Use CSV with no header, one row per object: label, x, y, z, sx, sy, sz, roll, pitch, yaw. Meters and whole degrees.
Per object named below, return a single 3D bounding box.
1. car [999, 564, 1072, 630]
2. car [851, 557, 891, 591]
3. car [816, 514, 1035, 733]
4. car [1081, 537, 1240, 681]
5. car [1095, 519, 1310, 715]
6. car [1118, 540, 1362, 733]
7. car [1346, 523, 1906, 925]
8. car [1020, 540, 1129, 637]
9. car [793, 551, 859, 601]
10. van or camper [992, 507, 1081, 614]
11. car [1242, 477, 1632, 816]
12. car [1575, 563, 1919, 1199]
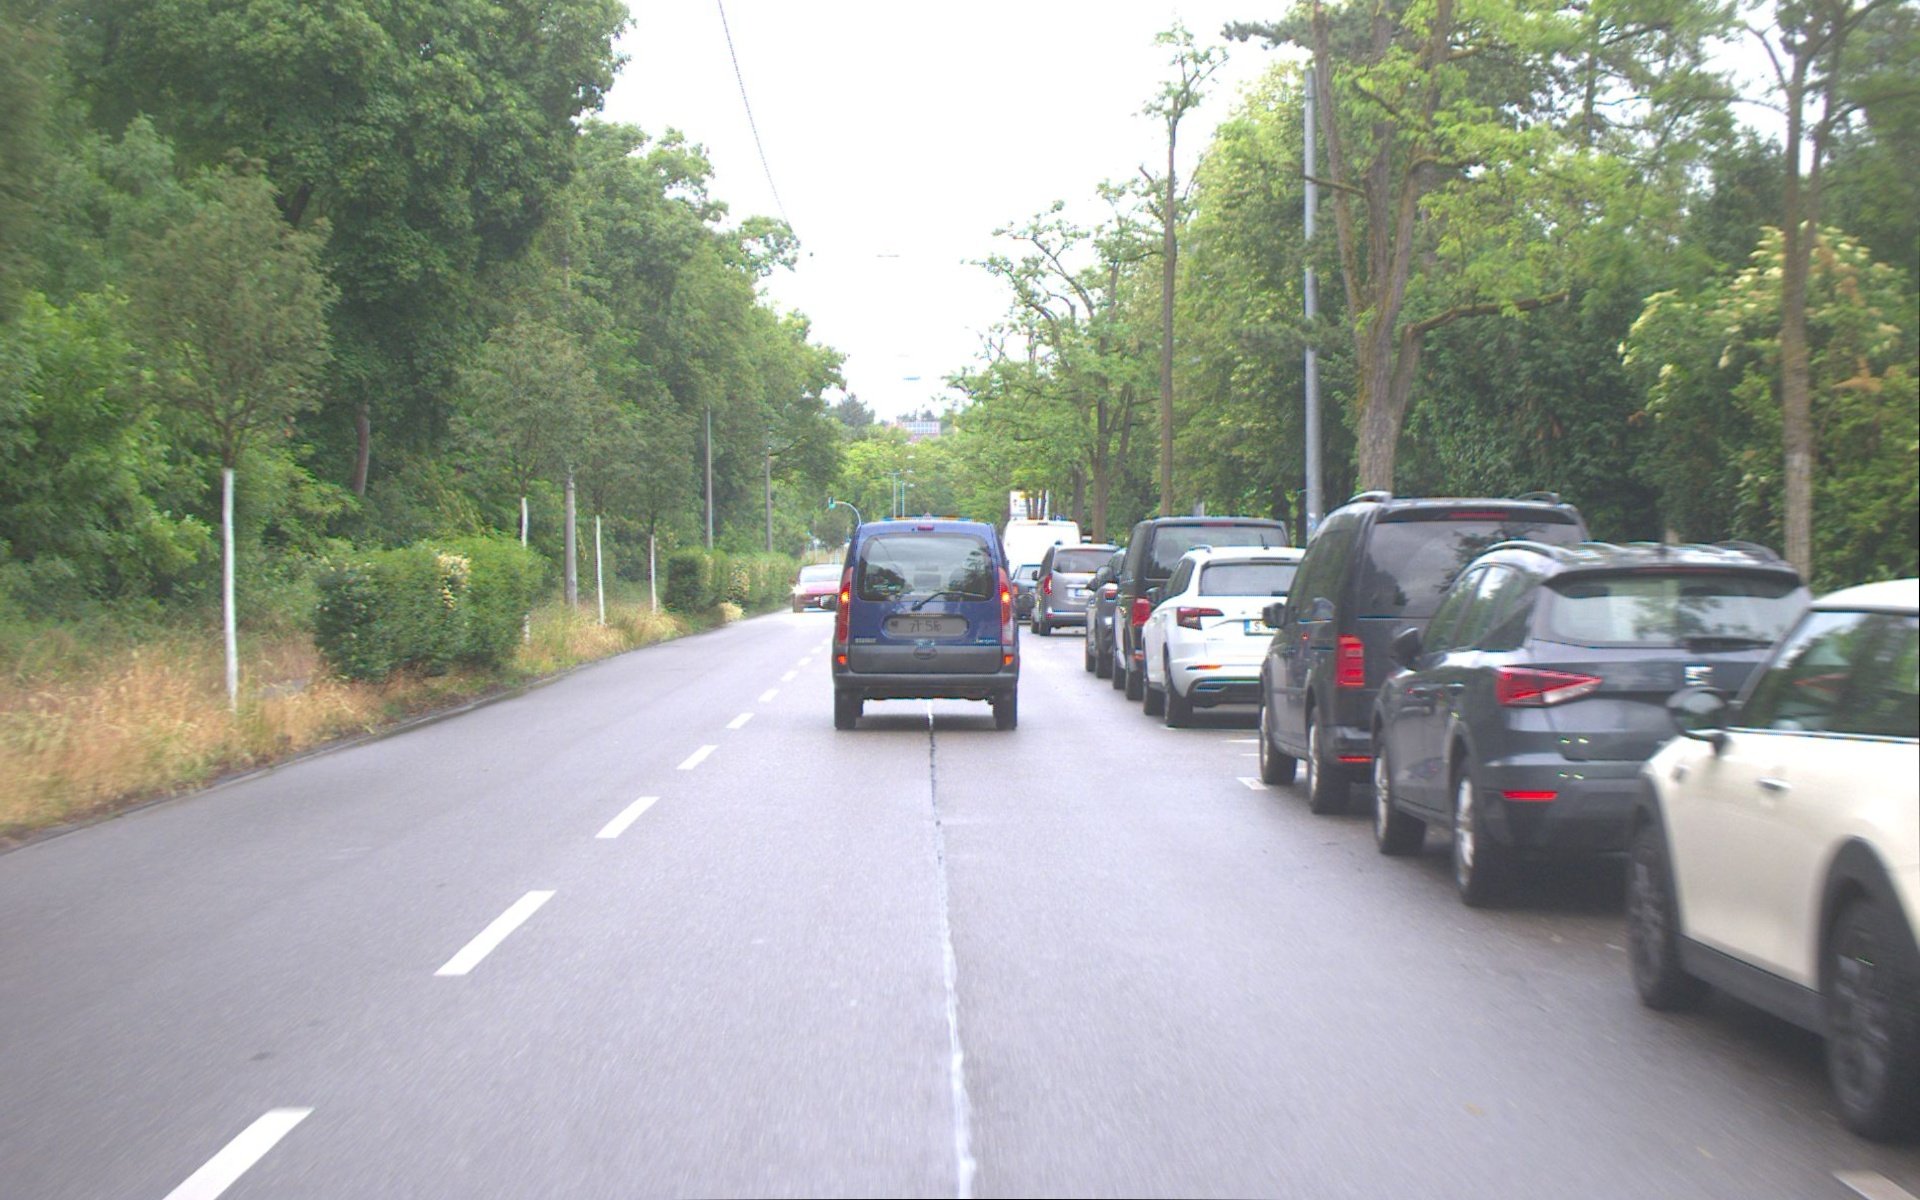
car,1.799,-0.088,81.077,1.626,1.459,3.807,1,1,3
car,-4.144,-1.198,160.054,1.783,1.474,3.968,-1,0,-1
car,-0.368,0.157,30.856,1.766,1.824,3.542,1,1,-3
car,2.548,0.070,44.492,1.773,1.717,4.327,1,1,0
car,2.616,0.120,38.137,1.993,2.007,4.888,1,1,0
car,2.505,0.280,31.685,1.804,1.607,4.286,1,1,-1
car,2.846,0.442,15.541,1.678,1.550,4.076,1,1,0
car,2.235,-0.265,68.174,1.814,1.807,4.283,1,1,-2
car,-4.147,-0.757,106.621,1.860,1.475,4.156,-1,1,0
van or camper,1.942,-1.049,88.892,2.078,2.641,5.346,1,1,-1
car,2.799,0.205,21.033,1.730,1.841,4.230,1,1,0
car,3.011,0.661,9.957,1.738,1.459,3.725,1,1,-1
